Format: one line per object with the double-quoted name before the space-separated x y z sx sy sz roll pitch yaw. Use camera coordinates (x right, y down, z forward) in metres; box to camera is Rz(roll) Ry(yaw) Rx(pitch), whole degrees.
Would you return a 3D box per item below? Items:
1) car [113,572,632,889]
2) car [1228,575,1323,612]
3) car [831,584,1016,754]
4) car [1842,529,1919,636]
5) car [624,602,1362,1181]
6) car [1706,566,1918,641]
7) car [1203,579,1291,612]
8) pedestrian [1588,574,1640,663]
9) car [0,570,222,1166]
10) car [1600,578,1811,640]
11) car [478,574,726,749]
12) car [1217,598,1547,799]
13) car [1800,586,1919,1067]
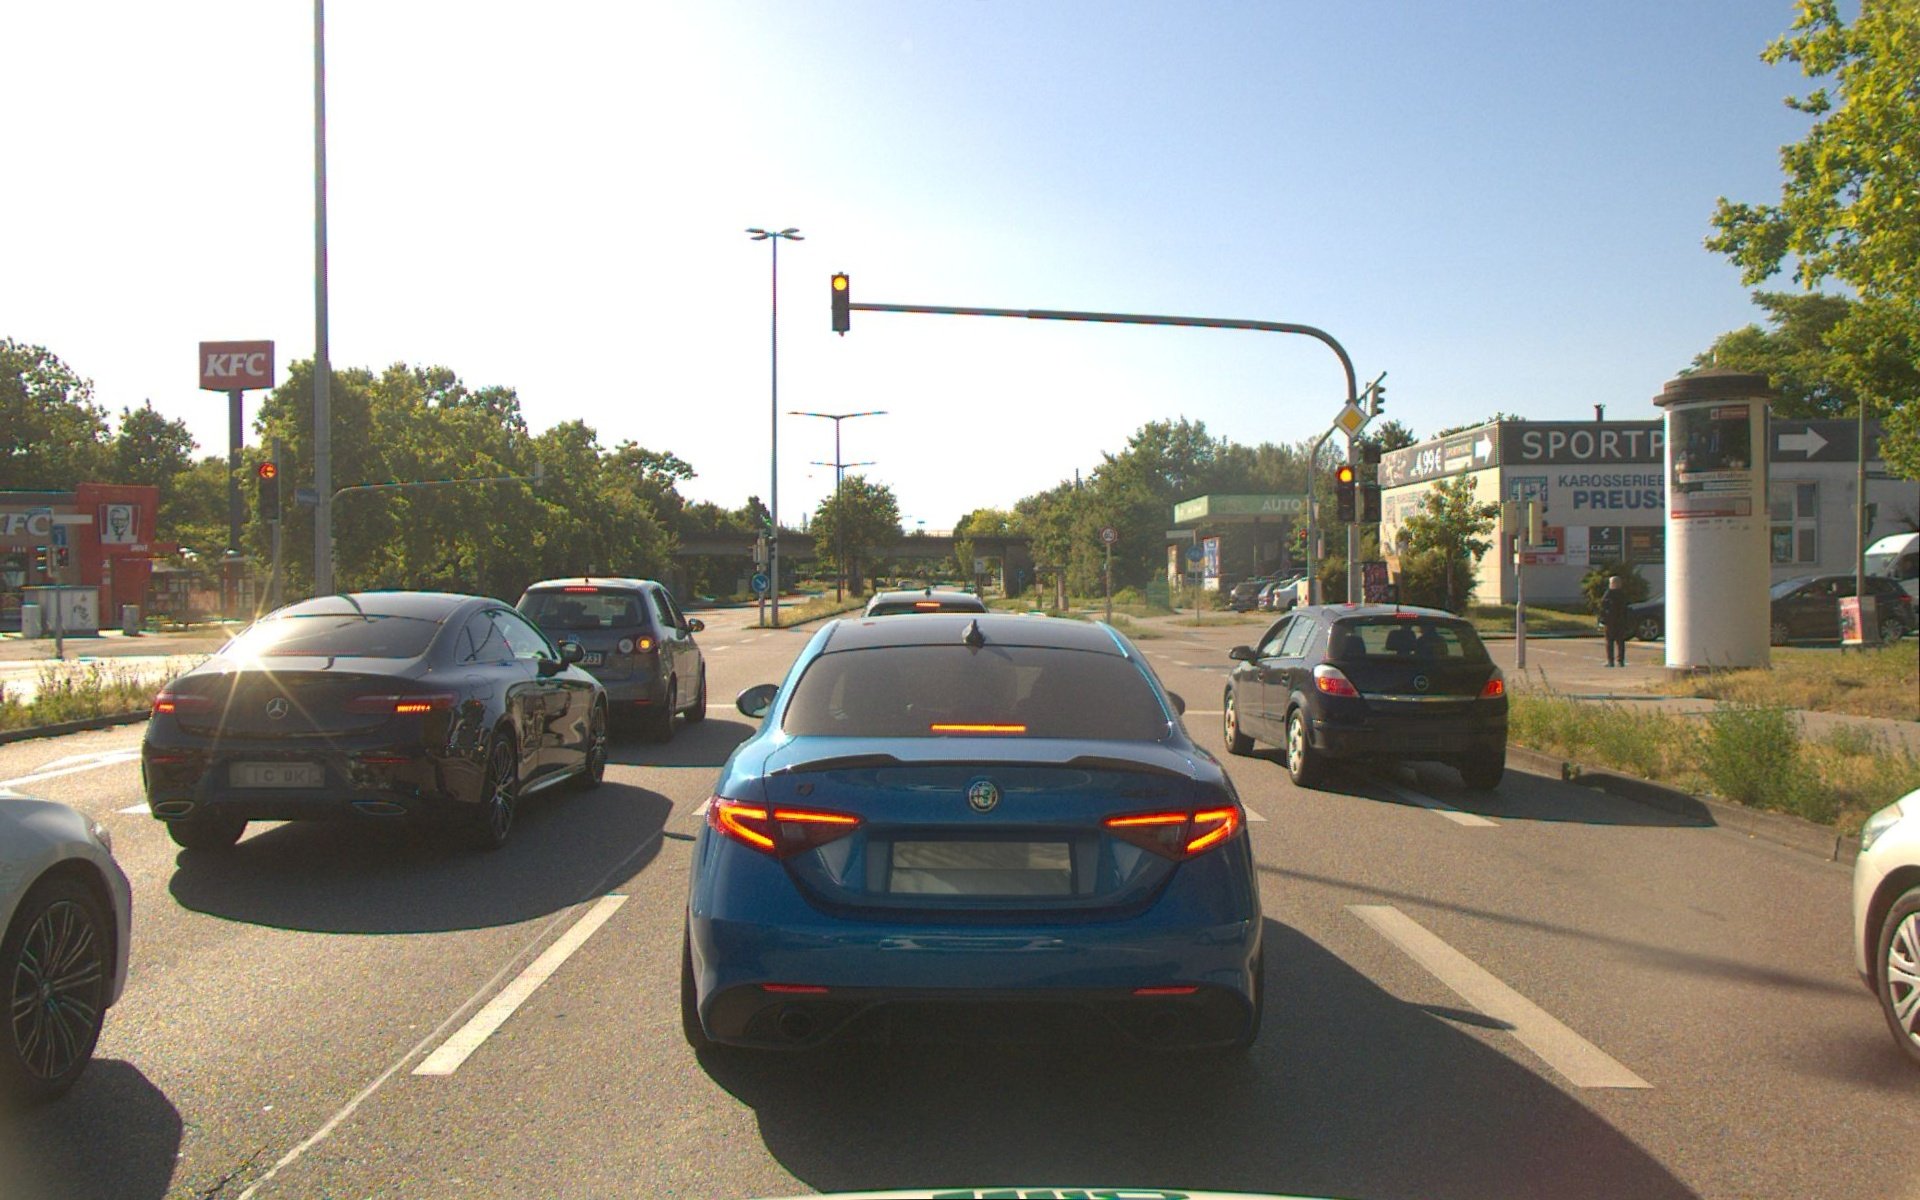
"car" -3.382 0.642 10.538 1.775 1.578 4.542 0 0 -1
"car" 14.251 -0.279 74.904 3.905 1.579 2.000 1 0 0
"car" -0.305 0.637 16.956 1.669 1.523 3.719 1 0 1
"car" 26.351 -0.494 42.991 5.715 2.719 2.000 -1 0 0
"car" 0.113 0.755 6.099 1.870 1.447 3.719 1 0 1
"car" 20.249 0.076 39.384 4.219 1.678 1.637 1 0 -2
"car" 14.468 -0.232 83.527 3.925 1.579 1.990 1 0 -18
"pedestrian" 12.664 0.354 32.033 0.800 1.698 0.514 1 -1 -1
"car" -3.317 0.683 3.147 1.775 1.512 4.596 0 0 0
"car" 19.304 0.245 42.924 4.722 1.493 1.758 1 0 -3
"car" -3.590 0.572 17.345 1.776 1.578 4.351 1 0 -2
"car" 3.491 0.733 14.520 1.699 1.467 4.370 1 0 -1
"car" 4.026 0.762 4.087 1.747 1.564 4.107 1 0 -1
